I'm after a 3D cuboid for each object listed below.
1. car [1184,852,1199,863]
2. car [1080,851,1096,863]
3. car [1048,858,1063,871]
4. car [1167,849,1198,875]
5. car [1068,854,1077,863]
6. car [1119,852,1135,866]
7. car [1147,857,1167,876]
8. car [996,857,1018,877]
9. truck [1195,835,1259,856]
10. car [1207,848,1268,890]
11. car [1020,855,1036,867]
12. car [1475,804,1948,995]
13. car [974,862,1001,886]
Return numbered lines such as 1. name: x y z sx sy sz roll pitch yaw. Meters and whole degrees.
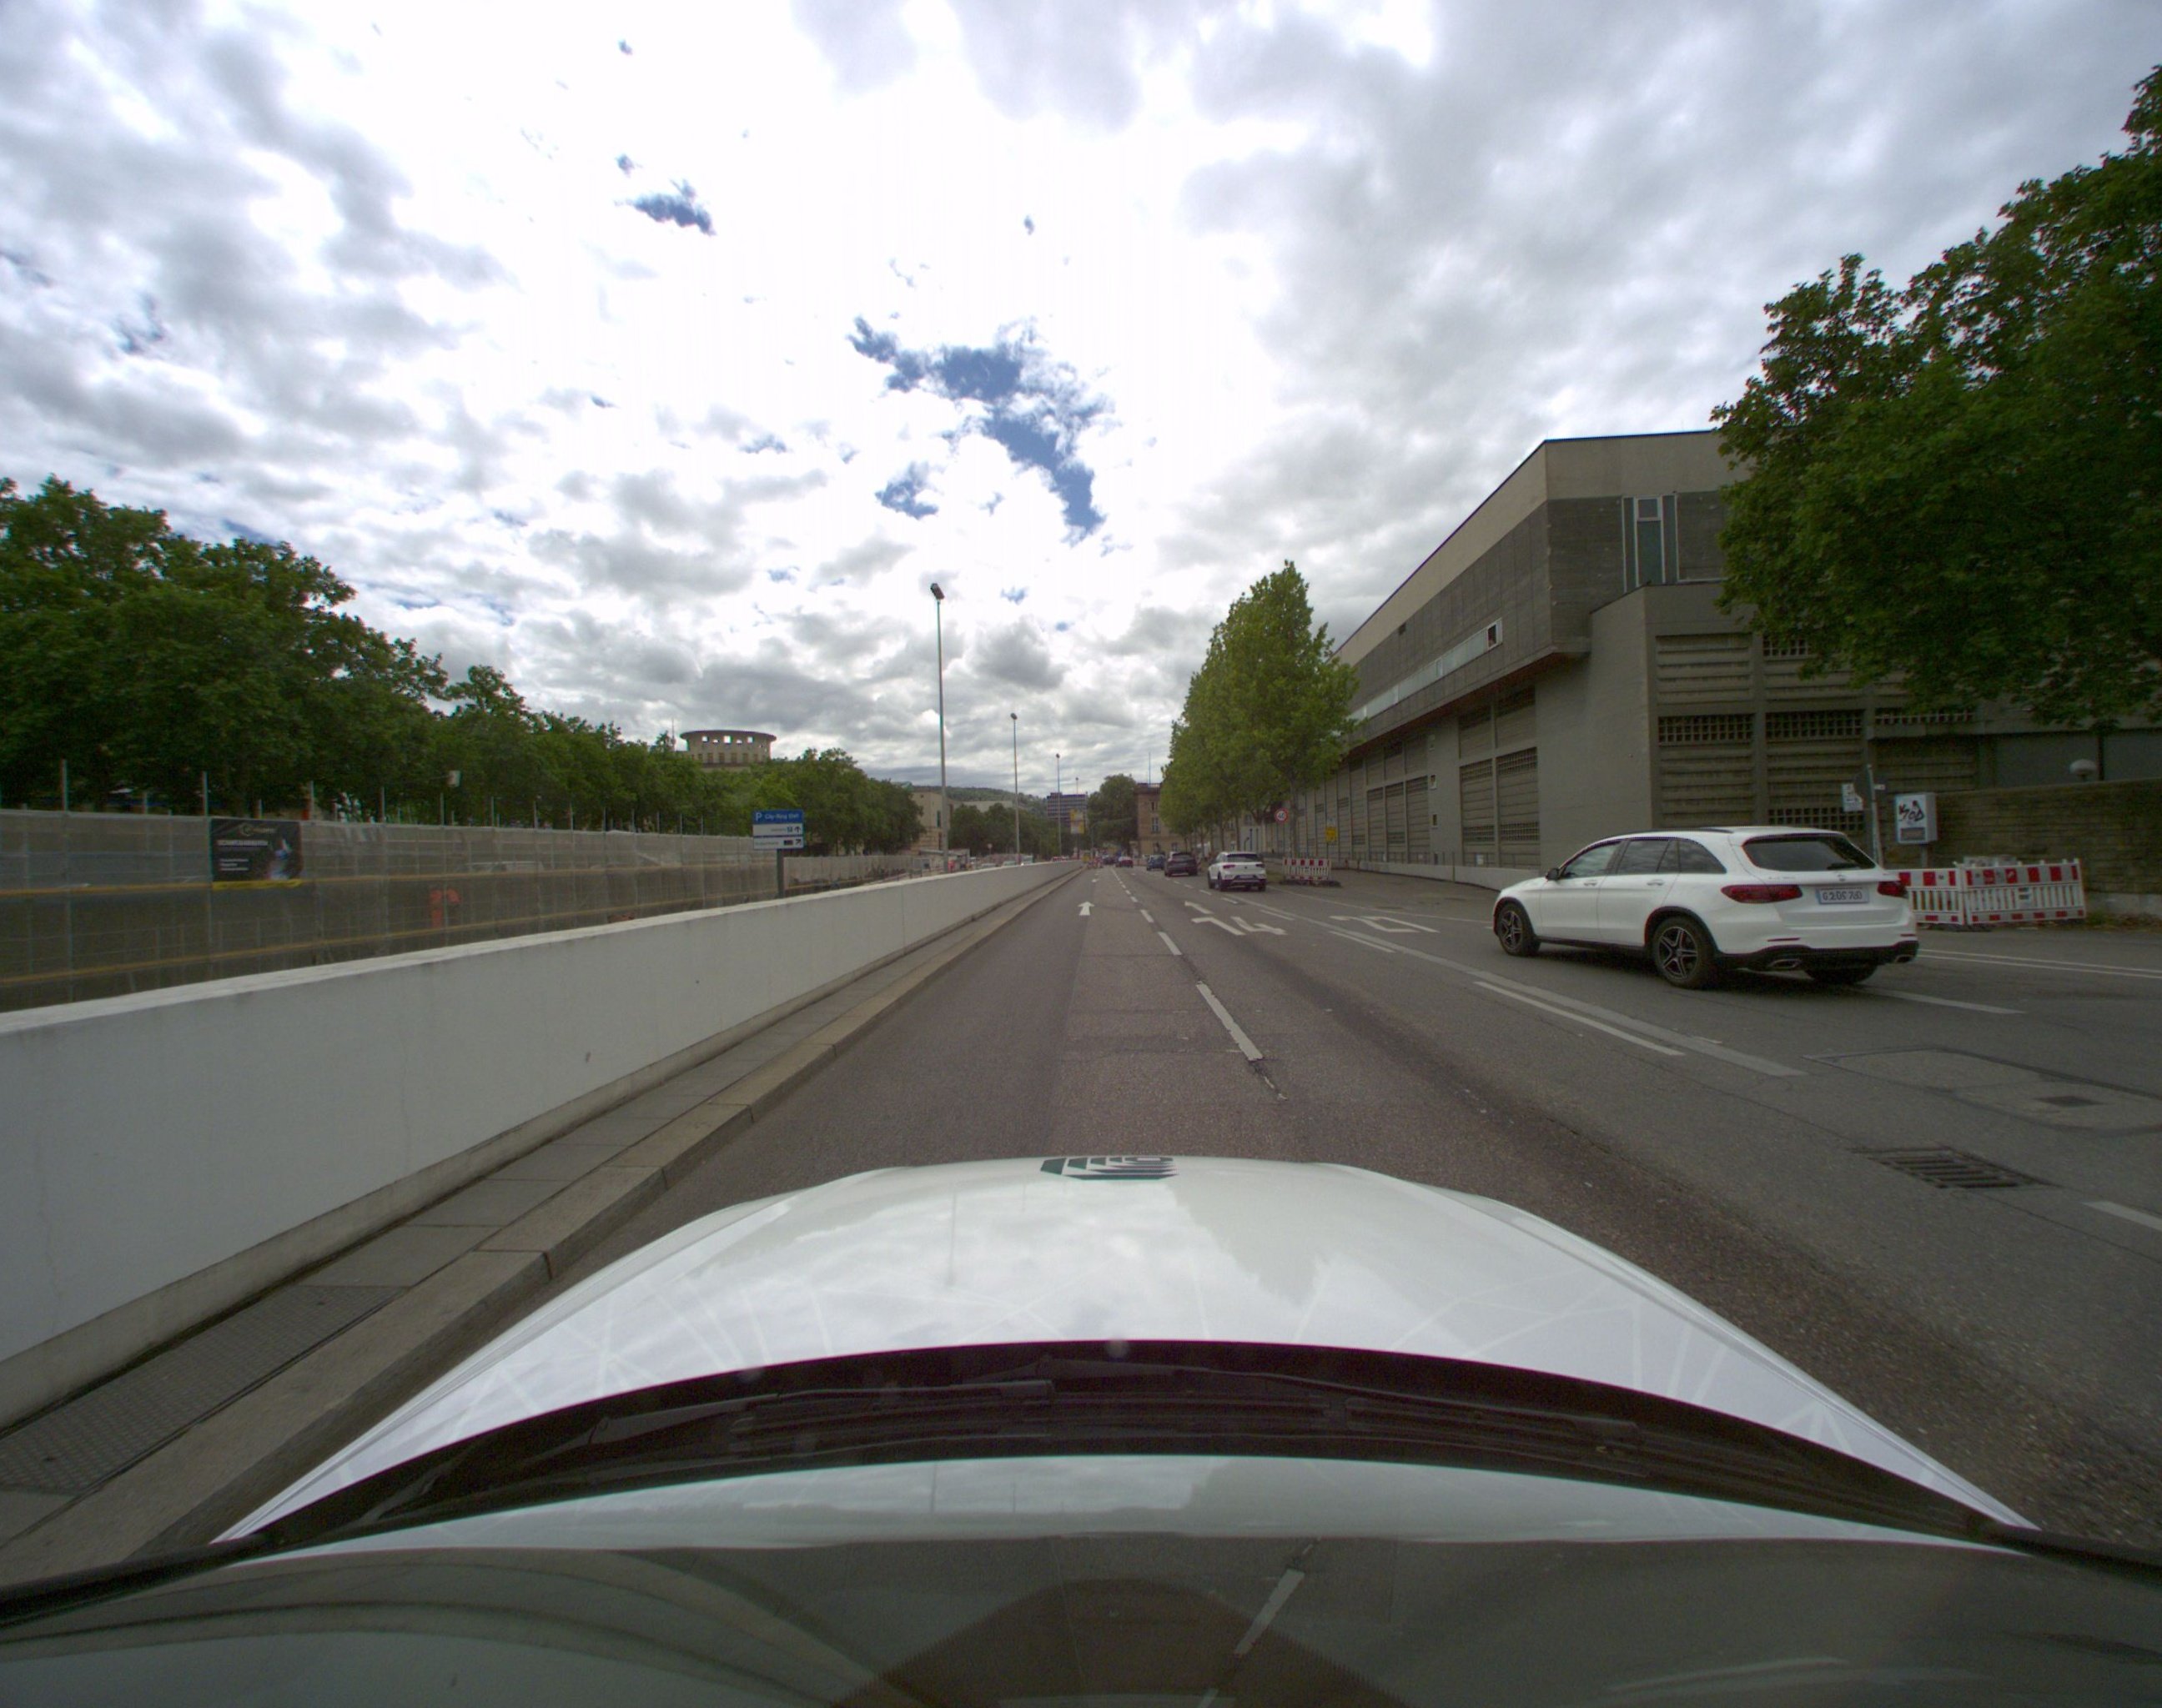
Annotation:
1. car: 16.847 0.577 124.638 1.849 1.568 4.333 -1 -1 2
2. car: 1.519 0.578 169.251 2.569 2.374 5.536 -2 0 6
3. car: -3.503 1.446 113.283 1.743 1.567 3.379 -4 -1 3
4. car: 6.764 0.533 54.615 1.815 1.568 4.484 -1 -1 4
5. car: -1.571 0.851 150.595 1.745 1.568 4.329 -1 -1 -1
6. car: 6.018 0.640 106.494 1.814 1.740 4.488 -2 0 7
7. car: 7.477 1.191 79.843 1.814 1.740 4.488 -2 0 7
8. car: -8.524 1.470 93.836 1.986 2.013 4.002 -2 1 1
9. truck: 23.703 -1.343 132.641 9.990 3.051 2.570 -2 -1 2
10. car: 6.235 0.572 32.860 1.744 1.568 4.333 0 0 2
11. car: -7.687 1.013 118.577 1.743 1.567 3.379 -4 -1 3
12. car: 6.795 0.454 9.607 1.808 1.643 4.545 -2 -1 -4
13. car: -8.977 1.893 78.633 1.986 2.013 4.002 -2 1 1
